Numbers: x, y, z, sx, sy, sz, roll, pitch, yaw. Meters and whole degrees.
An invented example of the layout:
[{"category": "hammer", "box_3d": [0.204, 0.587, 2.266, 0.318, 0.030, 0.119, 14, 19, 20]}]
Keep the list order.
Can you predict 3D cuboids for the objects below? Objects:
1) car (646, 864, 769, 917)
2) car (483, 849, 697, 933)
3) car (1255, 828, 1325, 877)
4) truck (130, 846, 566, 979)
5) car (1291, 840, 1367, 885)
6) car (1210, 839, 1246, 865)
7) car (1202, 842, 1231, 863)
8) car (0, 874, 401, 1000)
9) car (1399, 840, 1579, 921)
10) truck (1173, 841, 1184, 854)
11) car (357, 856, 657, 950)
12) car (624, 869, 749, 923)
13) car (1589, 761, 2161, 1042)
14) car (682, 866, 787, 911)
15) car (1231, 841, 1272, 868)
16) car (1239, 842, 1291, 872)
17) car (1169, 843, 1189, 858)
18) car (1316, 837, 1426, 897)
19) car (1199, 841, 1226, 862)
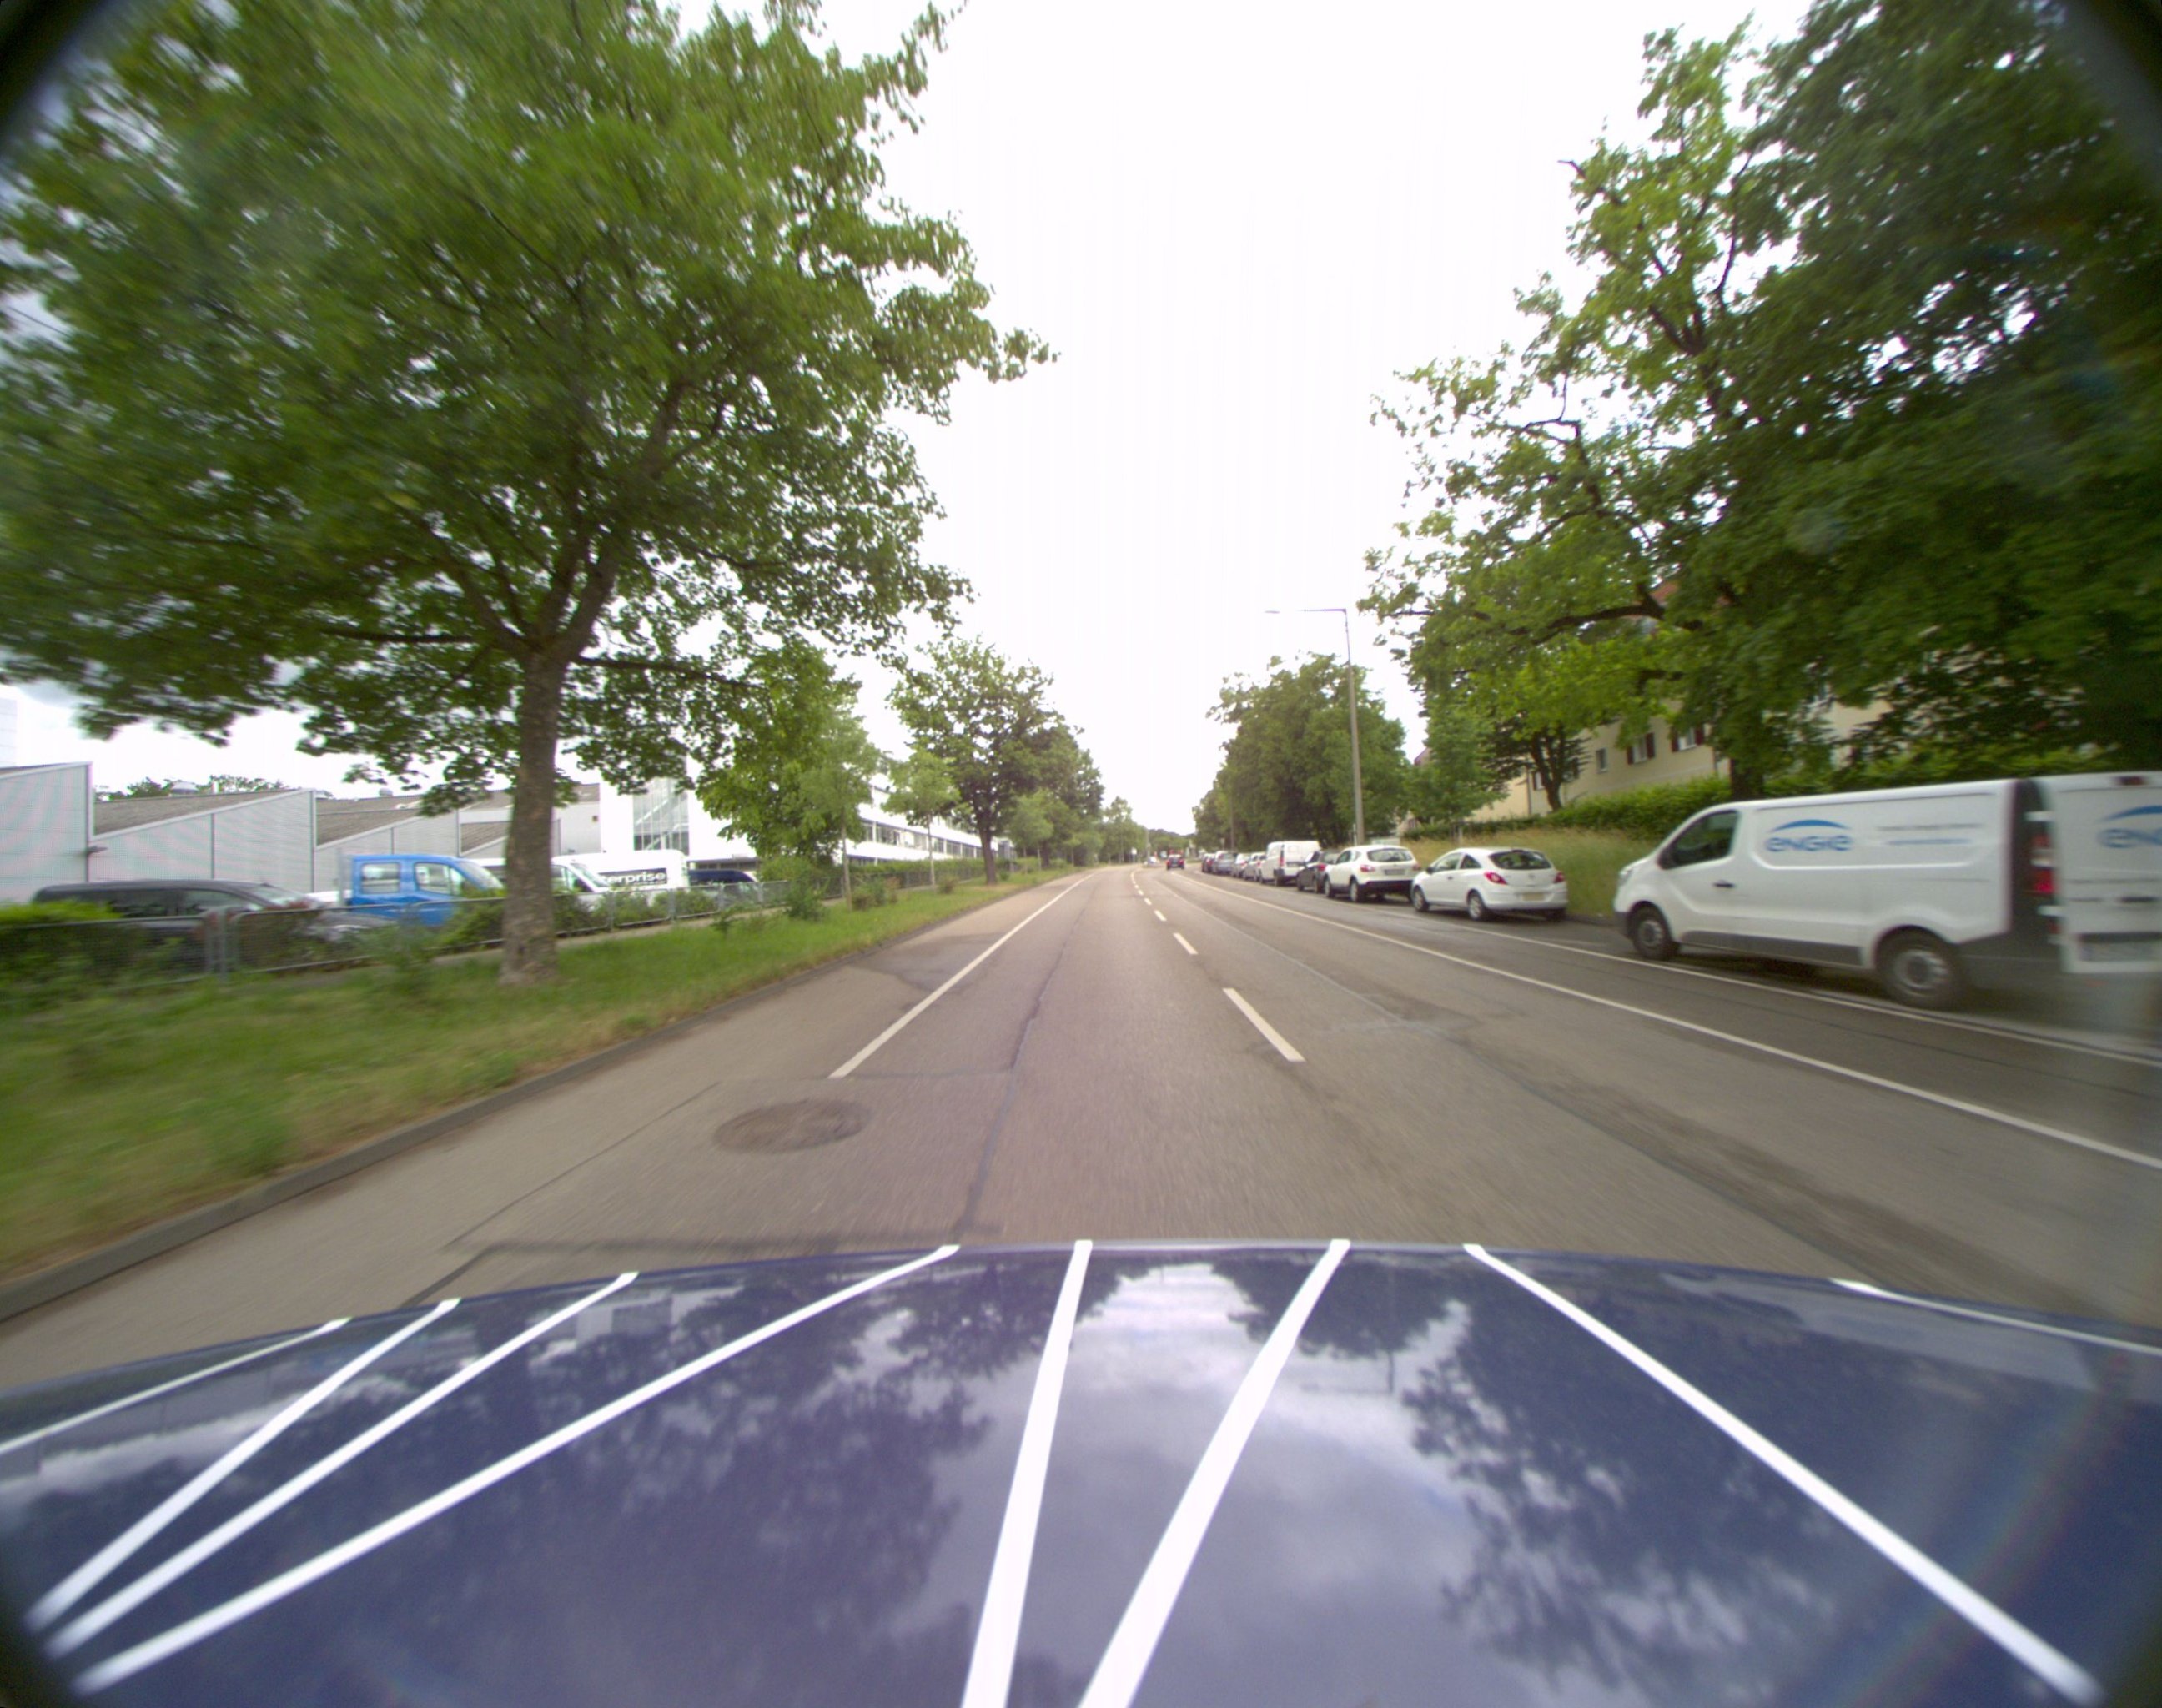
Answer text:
[{"category": "car", "box_3d": [-16.826, 1.605, 34.343, 4.584, 2.022, 2.066, -3, 0, -37]}, {"category": "car", "box_3d": [-15.159, 1.087, 23.886, 5.267, 2.175, 2.068, -3, 0, -22]}, {"category": "car", "box_3d": [9.127, -0.029, 33.681, 1.772, 1.919, 5.156, -3, 0, 2]}, {"category": "truck", "box_3d": [-15.071, 1.084, 16.322, 6.261, 2.199, 2.243, -3, 0, -25]}, {"category": "car", "box_3d": [8.845, 0.280, 27.458, 1.677, 1.479, 4.046, -1, 0, 4]}, {"category": "car", "box_3d": [9.873, -0.104, 51.129, 1.772, 1.582, 4.136, -2, 0, 3]}, {"category": "car", "box_3d": [10.041, -0.070, 56.590, 1.771, 1.439, 4.151, -2, 0, 6]}, {"category": "car", "box_3d": [-14.578, 1.268, 12.911, 4.004, 1.620, 1.996, -3, 0, -25]}, {"category": "car", "box_3d": [8.523, 0.485, 16.334, 1.666, 1.470, 4.090, -2, 0, 0]}, {"category": "truck", "box_3d": [27.274, -1.748, 212.309, 2.830, 3.460, 7.829, -2, 0, 9]}, {"category": "car", "box_3d": [-14.714, 1.175, 19.977, 5.831, 1.945, 2.068, -3, 0, -19]}, {"category": "car", "box_3d": [-16.234, 1.675, 31.441, 4.361, 1.833, 1.919, -3, 0, -27]}, {"category": "car", "box_3d": [7.897, 0.315, 7.896, 1.871, 1.952, 5.127, -2, 0, 2]}, {"category": "car", "box_3d": [-18.090, 1.751, 39.727, 4.584, 2.022, 2.066, -3, 0, -37]}, {"category": "car", "box_3d": [10.001, 0.052, 44.865, 1.772, 1.486, 4.358, -1, 0, 5]}, {"category": "car", "box_3d": [9.433, 0.170, 39.211, 1.639, 1.425, 3.950, -3, 0, -1]}, {"category": "car", "box_3d": [9.969, -0.403, 77.181, 1.640, 1.458, 4.004, -1, 0, 12]}, {"category": "car", "box_3d": [8.374, 0.340, 22.327, 1.677, 1.555, 4.282, -2, 0, 2]}, {"category": "car", "box_3d": [10.546, -0.205, 61.151, 1.879, 1.561, 4.653, -2, 0, 7]}]
